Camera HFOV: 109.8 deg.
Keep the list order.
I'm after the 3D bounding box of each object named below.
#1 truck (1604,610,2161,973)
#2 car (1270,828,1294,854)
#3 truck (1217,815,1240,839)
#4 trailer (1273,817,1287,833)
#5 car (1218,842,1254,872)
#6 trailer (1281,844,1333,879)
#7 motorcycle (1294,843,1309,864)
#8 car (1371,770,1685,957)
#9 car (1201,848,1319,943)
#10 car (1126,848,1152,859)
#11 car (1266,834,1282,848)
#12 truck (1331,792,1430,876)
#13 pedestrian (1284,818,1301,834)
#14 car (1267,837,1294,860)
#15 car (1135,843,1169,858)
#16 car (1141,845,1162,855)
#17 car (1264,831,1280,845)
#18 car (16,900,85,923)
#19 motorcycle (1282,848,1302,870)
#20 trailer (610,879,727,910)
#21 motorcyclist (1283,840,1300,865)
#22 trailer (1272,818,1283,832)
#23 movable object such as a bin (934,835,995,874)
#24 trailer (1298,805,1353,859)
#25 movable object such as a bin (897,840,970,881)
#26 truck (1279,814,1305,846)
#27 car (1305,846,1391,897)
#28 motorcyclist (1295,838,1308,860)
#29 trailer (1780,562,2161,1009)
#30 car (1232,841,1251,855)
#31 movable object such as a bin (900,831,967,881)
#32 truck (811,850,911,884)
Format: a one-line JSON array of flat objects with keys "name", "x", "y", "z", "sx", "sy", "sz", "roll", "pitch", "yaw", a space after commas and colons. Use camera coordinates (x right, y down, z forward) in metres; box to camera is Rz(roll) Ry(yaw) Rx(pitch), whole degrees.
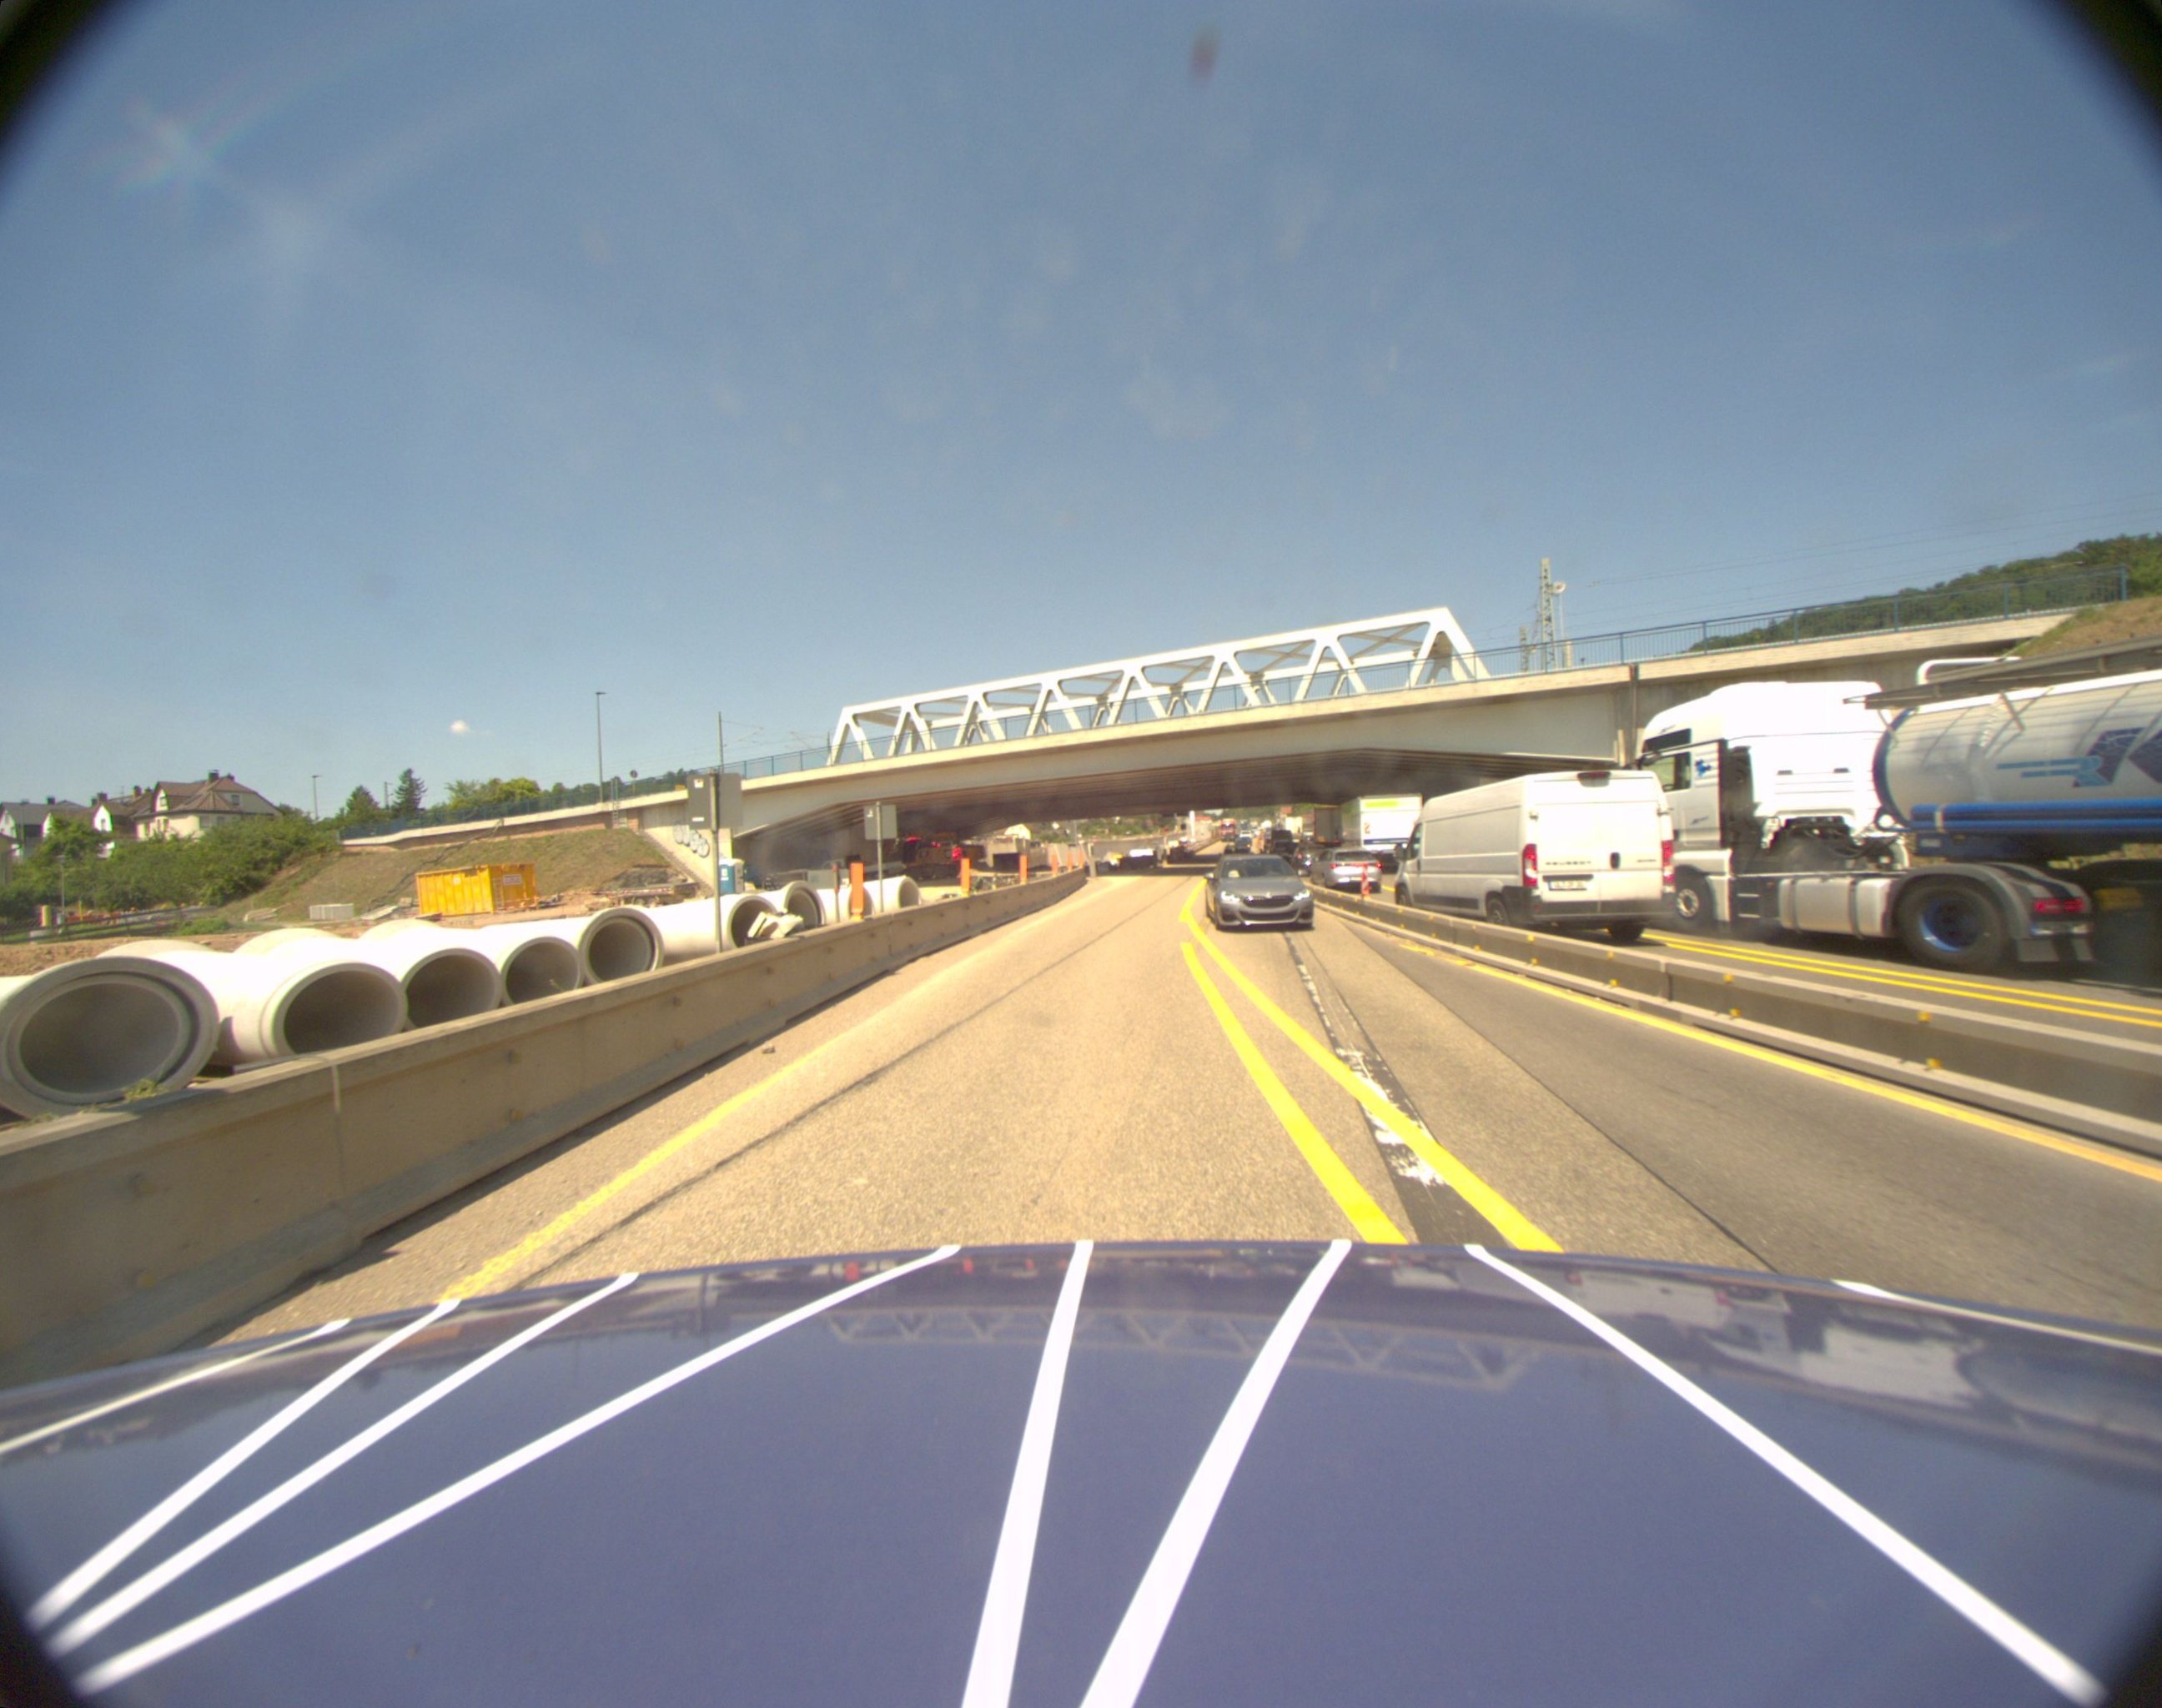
[{"name": "truck", "x": 10.414, "y": -0.690, "z": 10.705, "sx": 2.540, "sy": 3.800, "sz": 4.949, "roll": -3, "pitch": 1, "yaw": 0}, {"name": "car", "x": 19.137, "y": -1.279, "z": 72.439, "sx": 1.983, "sy": 2.317, "sz": 6.062, "roll": -2, "pitch": 2, "yaw": 14}, {"name": "truck", "x": 26.956, "y": -4.973, "z": 138.357, "sx": 3.460, "sy": 4.025, "sz": 10.216, "roll": -2, "pitch": 3, "yaw": 13}, {"name": "trailer", "x": 50.237, "y": -7.407, "z": 191.676, "sx": 2.659, "sy": 3.795, "sz": 11.830, "roll": -1, "pitch": 3, "yaw": 18}, {"name": "car", "x": 9.068, "y": 0.131, "z": 44.113, "sx": 1.836, "sy": 1.465, "sz": 4.392, "roll": -2, "pitch": 2, "yaw": 14}, {"name": "trailer", "x": 10.572, "y": 0.309, "z": 35.761, "sx": 1.667, "sy": 1.423, "sz": 4.001, "roll": -2, "pitch": 1, "yaw": 7}, {"name": "motorcycle", "x": 14.625, "y": -0.035, "z": 50.455, "sx": 0.703, "sy": 1.272, "sz": 2.736, "roll": -2, "pitch": 2, "yaw": 12}, {"name": "car", "x": 7.345, "y": 0.073, "z": 13.632, "sx": 2.076, "sy": 2.489, "sz": 6.484, "roll": -2, "pitch": 1, "yaw": 3}, {"name": "car", "x": 3.499, "y": 0.722, "z": 15.601, "sx": 1.837, "sy": 1.588, "sz": 4.391, "roll": -2, "pitch": 1, "yaw": 7}, {"name": "car", "x": 11.043, "y": -0.156, "z": 144.601, "sx": 4.797, "sy": 1.759, "sz": 1.721, "roll": -4, "pitch": 1, "yaw": 13}, {"name": "car", "x": 23.020, "y": -1.591, "z": 90.794, "sx": 1.751, "sy": 1.601, "sz": 4.144, "roll": -2, "pitch": 2, "yaw": 14}, {"name": "truck", "x": 14.492, "y": -0.954, "z": 37.475, "sx": 2.822, "sy": 3.555, "sz": 8.503, "roll": -2, "pitch": 1, "yaw": 10}, {"name": "pedestrian", "x": 29.072, "y": -3.863, "z": 104.498, "sx": 1.996, "sy": 2.003, "sz": 4.002, "roll": -2, "pitch": 3, "yaw": 13}, {"name": "car", "x": 15.487, "y": -0.415, "z": 59.140, "sx": 1.749, "sy": 1.661, "sz": 4.082, "roll": -2, "pitch": 1, "yaw": 12}, {"name": "car", "x": 14.132, "y": -0.678, "z": 150.946, "sx": 6.302, "sy": 2.566, "sz": 2.055, "roll": -5, "pitch": 1, "yaw": 0}, {"name": "car", "x": 13.640, "y": -0.825, "z": 147.441, "sx": 3.867, "sy": 1.676, "sz": 1.693, "roll": -4, "pitch": 2, "yaw": 8}, {"name": "car", "x": 27.260, "y": -2.354, "z": 108.555, "sx": 1.803, "sy": 1.922, "sz": 4.971, "roll": -2, "pitch": 2, "yaw": 11}, {"name": "car", "x": -75.486, "y": 4.200, "z": 55.667, "sx": 4.159, "sy": 1.500, "sz": 1.579, "roll": -2, "pitch": 3, "yaw": 16}, {"name": "motorcycle", "x": 12.186, "y": 0.248, "z": 43.925, "sx": 0.834, "sy": 1.143, "sz": 2.792, "roll": -2, "pitch": 2, "yaw": 10}, {"name": "trailer", "x": -20.081, "y": 1.944, "z": 37.052, "sx": 4.720, "sy": 1.213, "sz": 2.057, "roll": -2, "pitch": 3, "yaw": 13}, {"name": "motorcyclist", "x": 12.191, "y": -0.092, "z": 44.037, "sx": 0.812, "sy": 1.409, "sz": 0.743, "roll": -2, "pitch": 3, "yaw": 11}, {"name": "trailer", "x": 57.077, "y": -8.423, "z": 220.734, "sx": 2.603, "sy": 3.850, "sz": 11.281, "roll": -2, "pitch": 3, "yaw": 17}, {"name": "movable object such as a bin", "x": -10.896, "y": 0.049, "z": 71.036, "sx": 4.559, "sy": 3.269, "sz": 2.992, "roll": -3, "pitch": 3, "yaw": 17}, {"name": "trailer", "x": 20.805, "y": -1.854, "z": 65.515, "sx": 2.881, "sy": 4.017, "sz": 14.368, "roll": -3, "pitch": 1, "yaw": 12}, {"name": "movable object such as a bin", "x": -12.394, "y": 0.539, "z": 63.938, "sx": 5.246, "sy": 3.040, "sz": 2.498, "roll": -3, "pitch": 3, "yaw": 17}, {"name": "truck", "x": 30.942, "y": -3.598, "z": 111.889, "sx": 2.773, "sy": 4.290, "sz": 13.495, "roll": -2, "pitch": 3, "yaw": 12}, {"name": "car", "x": 8.780, "y": 0.512, "z": 25.385, "sx": 1.848, "sy": 1.455, "sz": 4.526, "roll": -2, "pitch": 1, "yaw": 8}, {"name": "motorcyclist", "x": 14.646, "y": -0.325, "z": 50.481, "sx": 0.719, "sy": 1.409, "sz": 0.743, "roll": -2, "pitch": 3, "yaw": 11}, {"name": "trailer", "x": 10.357, "y": -0.609, "z": 4.764, "sx": 2.532, "sy": 3.767, "sz": 10.244, "roll": -3, "pitch": 1, "yaw": 1}, {"name": "car", "x": 18.468, "y": -0.697, "z": 87.520, "sx": 1.800, "sy": 1.543, "sz": 4.002, "roll": -2, "pitch": 1, "yaw": 7}, {"name": "movable object such as a bin", "x": -11.530, "y": 0.142, "z": 59.510, "sx": 3.885, "sy": 3.523, "sz": 2.906, "roll": -3, "pitch": 3, "yaw": 24}, {"name": "truck", "x": -16.074, "y": 0.921, "z": 55.560, "sx": 6.530, "sy": 2.061, "sz": 2.668, "roll": -3, "pitch": 1, "yaw": 16}]
